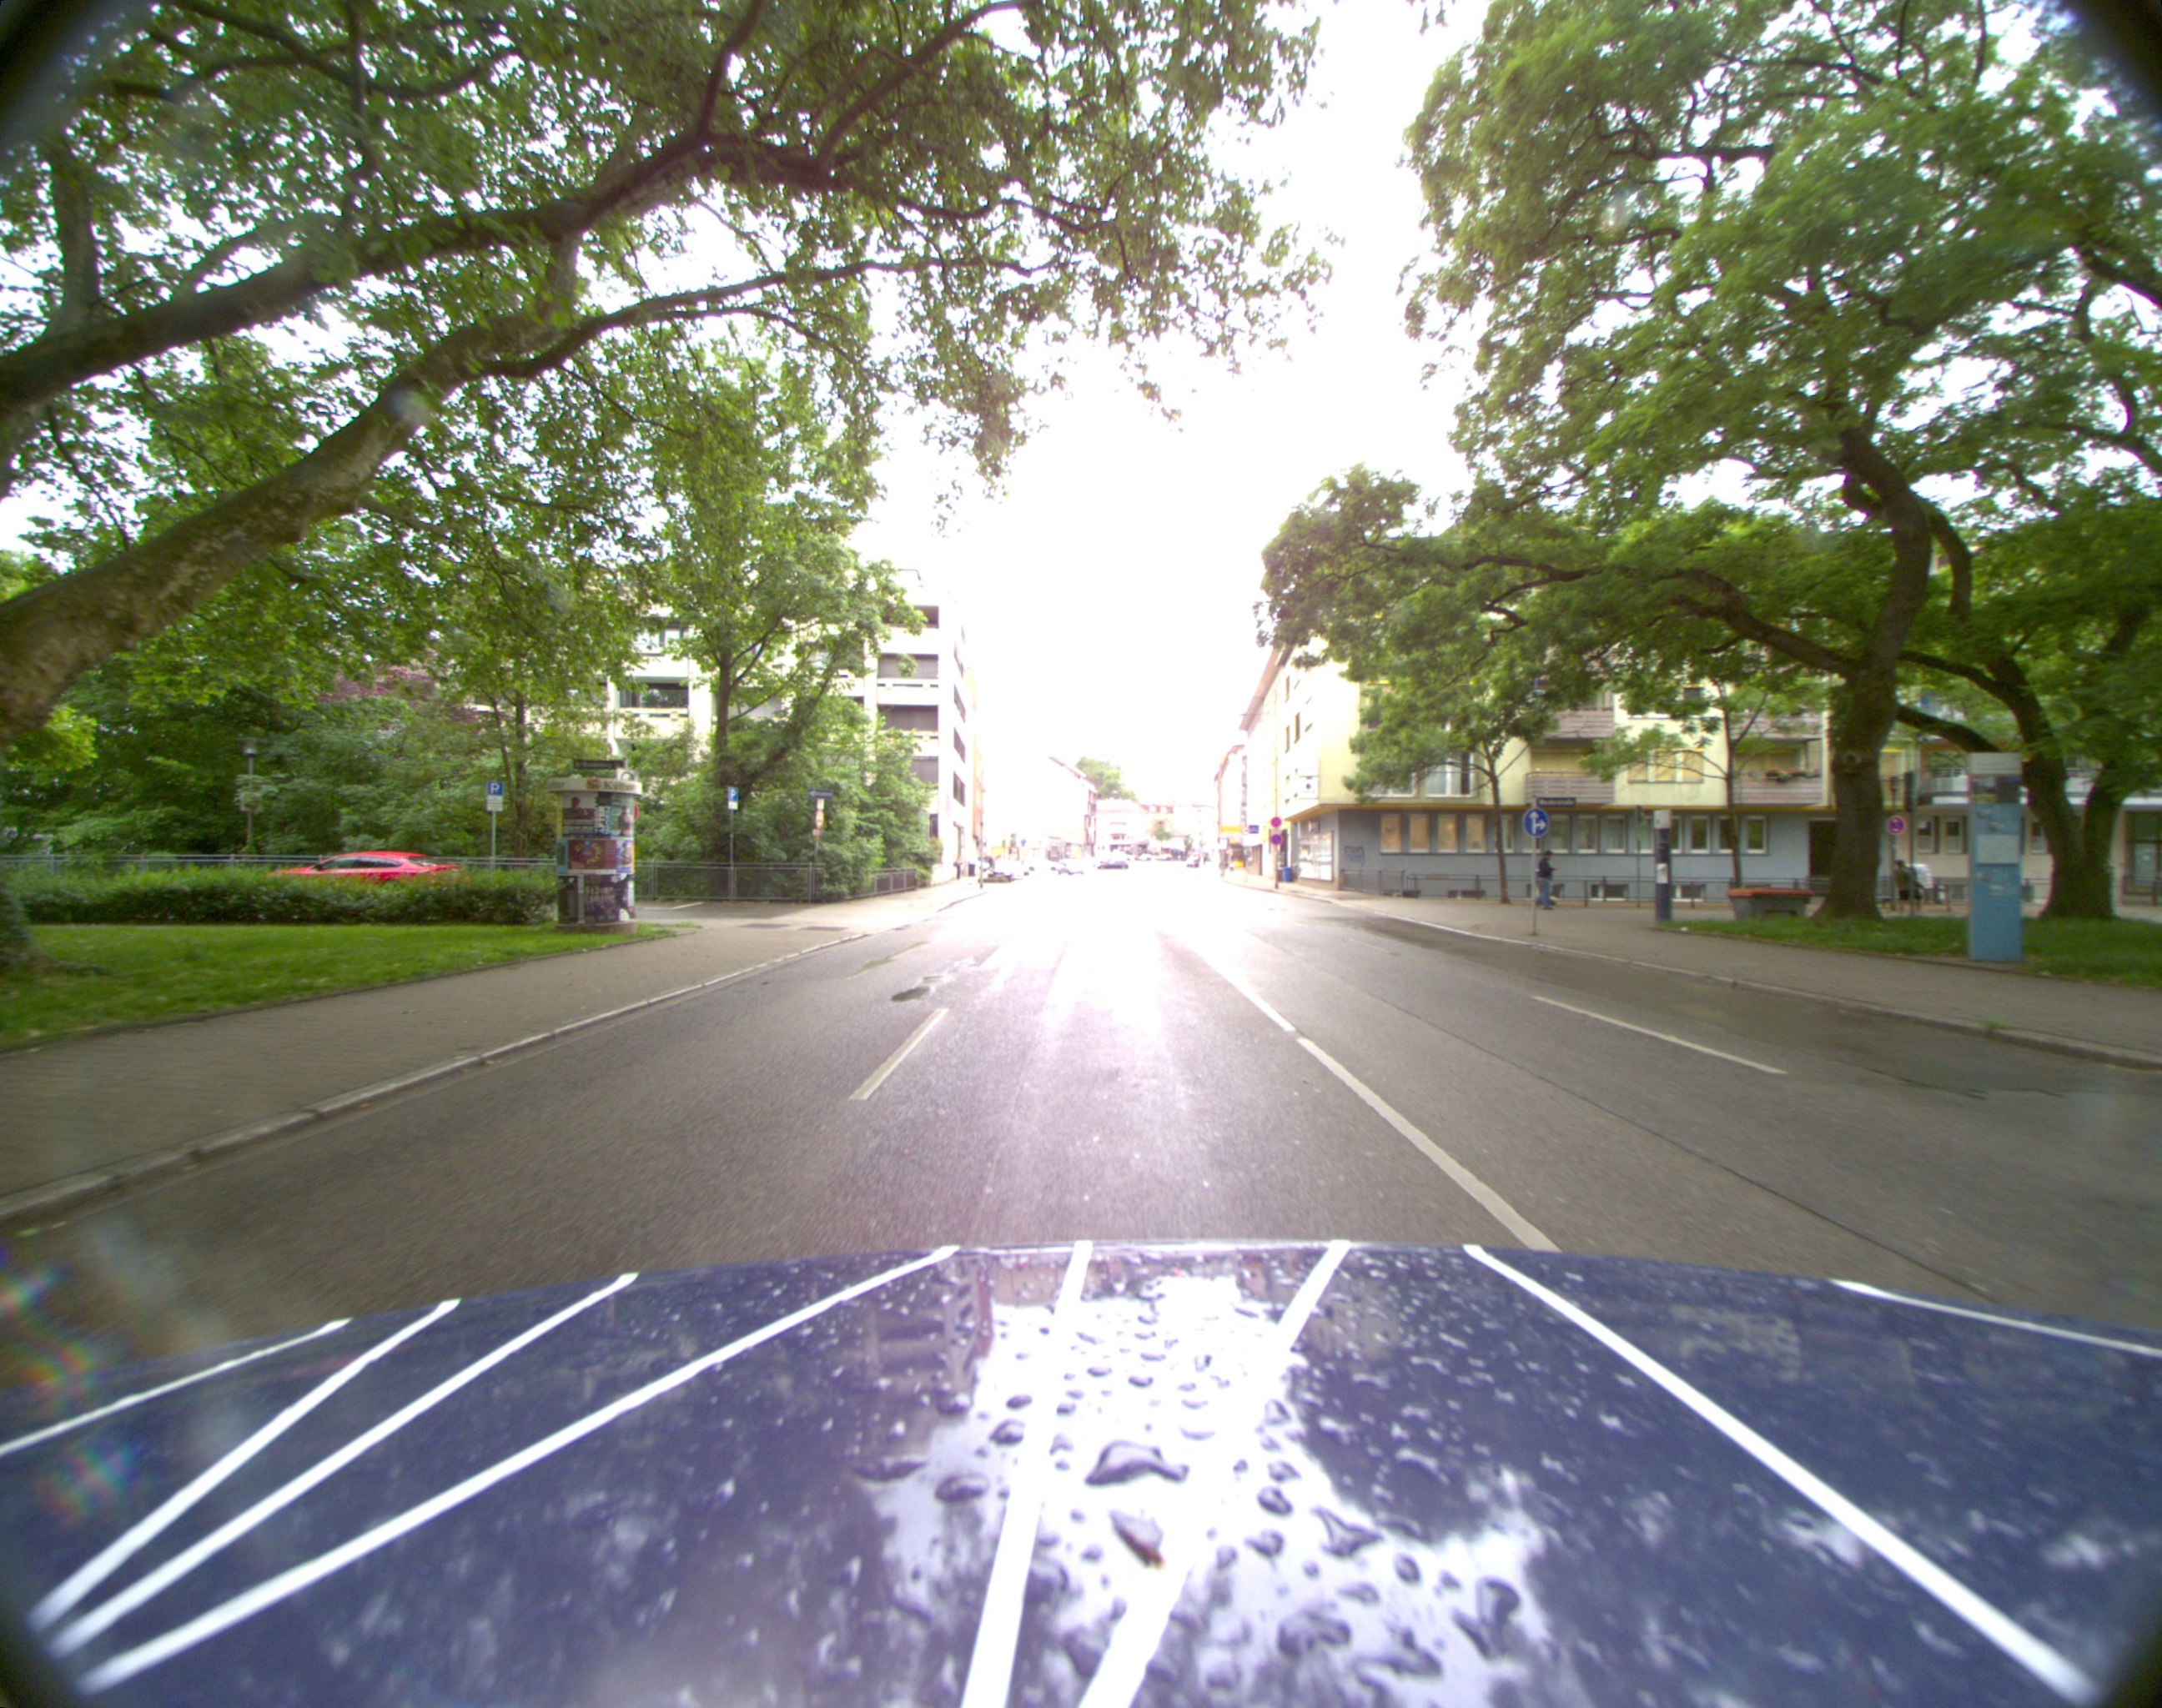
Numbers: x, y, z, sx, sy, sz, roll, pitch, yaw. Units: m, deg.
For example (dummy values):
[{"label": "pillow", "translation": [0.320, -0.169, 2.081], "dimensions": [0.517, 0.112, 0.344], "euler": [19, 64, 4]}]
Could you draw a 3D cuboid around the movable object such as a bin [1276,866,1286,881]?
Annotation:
[{"label": "movable object such as a bin", "translation": [12.797, 1.263, 48.623], "dimensions": [0.529, 0.922, 0.426], "euler": [-4, 0, 8]}]

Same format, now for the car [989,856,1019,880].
[{"label": "car", "translation": [-5.324, 0.965, 52.993], "dimensions": [1.706, 1.549, 3.804], "euler": [1, 0, -1]}]

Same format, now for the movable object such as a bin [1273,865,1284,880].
[{"label": "movable object such as a bin", "translation": [13.006, 1.224, 50.041], "dimensions": [0.517, 0.994, 0.524], "euler": [-4, 0, 8]}]

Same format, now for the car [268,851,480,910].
[{"label": "car", "translation": [-19.530, 0.714, 21.152], "dimensions": [3.999, 1.473, 1.875], "euler": [1, 1, -5]}]

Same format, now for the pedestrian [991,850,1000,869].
[{"label": "pedestrian", "translation": [-9.323, 0.608, 82.746], "dimensions": [0.806, 2.140, 0.737], "euler": [0, 1, -23]}]

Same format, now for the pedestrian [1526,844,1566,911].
[{"label": "pedestrian", "translation": [14.283, 0.702, 23.338], "dimensions": [0.754, 2.002, 0.780], "euler": [0, 1, -29]}]

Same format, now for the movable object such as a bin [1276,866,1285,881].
[{"label": "movable object such as a bin", "translation": [12.907, 1.263, 49.149], "dimensions": [0.465, 0.922, 0.428], "euler": [-4, 0, 8]}]

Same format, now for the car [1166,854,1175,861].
[{"label": "car", "translation": [21.391, 0.844, 181.629], "dimensions": [1.749, 1.754, 4.057], "euler": [1, 0, 12]}]

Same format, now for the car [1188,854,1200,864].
[{"label": "car", "translation": [17.944, 0.823, 120.790], "dimensions": [1.834, 1.612, 4.003], "euler": [0, 0, 10]}]

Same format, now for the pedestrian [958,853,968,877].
[{"label": "pedestrian", "translation": [-8.028, 0.739, 51.744], "dimensions": [0.599, 1.650, 0.691], "euler": [3, 0, -7]}]

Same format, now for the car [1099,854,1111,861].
[{"label": "car", "translation": [4.557, 0.647, 145.014], "dimensions": [1.736, 1.389, 3.744], "euler": [0, 0, 9]}]

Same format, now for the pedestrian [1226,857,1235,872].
[{"label": "pedestrian", "translation": [15.921, 1.134, 80.999], "dimensions": [0.785, 1.578, 0.674], "euler": [-2, 0, 21]}]

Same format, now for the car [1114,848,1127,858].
[{"label": "car", "translation": [7.398, -0.177, 142.212], "dimensions": [2.016, 1.754, 4.766], "euler": [1, 0, 9]}]

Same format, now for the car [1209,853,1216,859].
[{"label": "car", "translation": [33.396, 0.471, 192.761], "dimensions": [1.591, 1.518, 3.492], "euler": [0, 0, 14]}]

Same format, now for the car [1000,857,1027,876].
[{"label": "car", "translation": [-5.280, 0.988, 59.877], "dimensions": [1.835, 1.412, 4.569], "euler": [1, 0, -1]}]

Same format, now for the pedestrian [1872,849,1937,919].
[{"label": "pedestrian", "translation": [23.030, 0.820, 21.261], "dimensions": [0.918, 1.913, 0.820], "euler": [0, 0, 6]}]

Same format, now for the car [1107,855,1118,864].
[{"label": "car", "translation": [6.530, 1.101, 156.762], "dimensions": [1.670, 1.761, 4.004], "euler": [1, 0, 11]}]

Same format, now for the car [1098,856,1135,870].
[{"label": "car", "translation": [4.539, 1.168, 95.928], "dimensions": [4.560, 1.559, 1.758], "euler": [-2, 0, 4]}]

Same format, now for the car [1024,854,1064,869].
[{"label": "car", "translation": [-4.533, 0.920, 92.894], "dimensions": [4.687, 1.559, 1.758], "euler": [-2, 0, 2]}]

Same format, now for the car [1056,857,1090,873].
[{"label": "car", "translation": [-0.823, 1.097, 77.414], "dimensions": [1.760, 1.559, 3.992], "euler": [-2, 0, -27]}]

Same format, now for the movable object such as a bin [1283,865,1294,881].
[{"label": "movable object such as a bin", "translation": [12.984, 1.186, 47.534], "dimensions": [0.529, 0.955, 0.435], "euler": [-4, 0, 8]}]

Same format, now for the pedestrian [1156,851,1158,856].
[{"label": "pedestrian", "translation": [18.349, -0.136, 182.570], "dimensions": [0.379, 1.283, 0.401], "euler": [0, 1, 38]}]

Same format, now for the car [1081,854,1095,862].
[{"label": "car", "translation": [1.170, 0.638, 121.035], "dimensions": [1.736, 1.389, 3.744], "euler": [0, 0, 8]}]

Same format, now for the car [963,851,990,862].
[{"label": "car", "translation": [-16.585, 0.422, 120.598], "dimensions": [3.783, 1.701, 1.842], "euler": [0, 0, 20]}]

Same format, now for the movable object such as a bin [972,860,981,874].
[{"label": "movable object such as a bin", "translation": [-8.531, 1.076, 62.144], "dimensions": [0.681, 1.097, 0.514], "euler": [0, 0, -2]}]

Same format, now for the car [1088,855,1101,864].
[{"label": "car", "translation": [2.226, 0.945, 127.336], "dimensions": [1.736, 1.389, 3.744], "euler": [0, 0, 8]}]

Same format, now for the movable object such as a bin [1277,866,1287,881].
[{"label": "movable object such as a bin", "translation": [12.729, 1.249, 48.082], "dimensions": [0.529, 0.890, 0.435], "euler": [-4, 0, 8]}]
